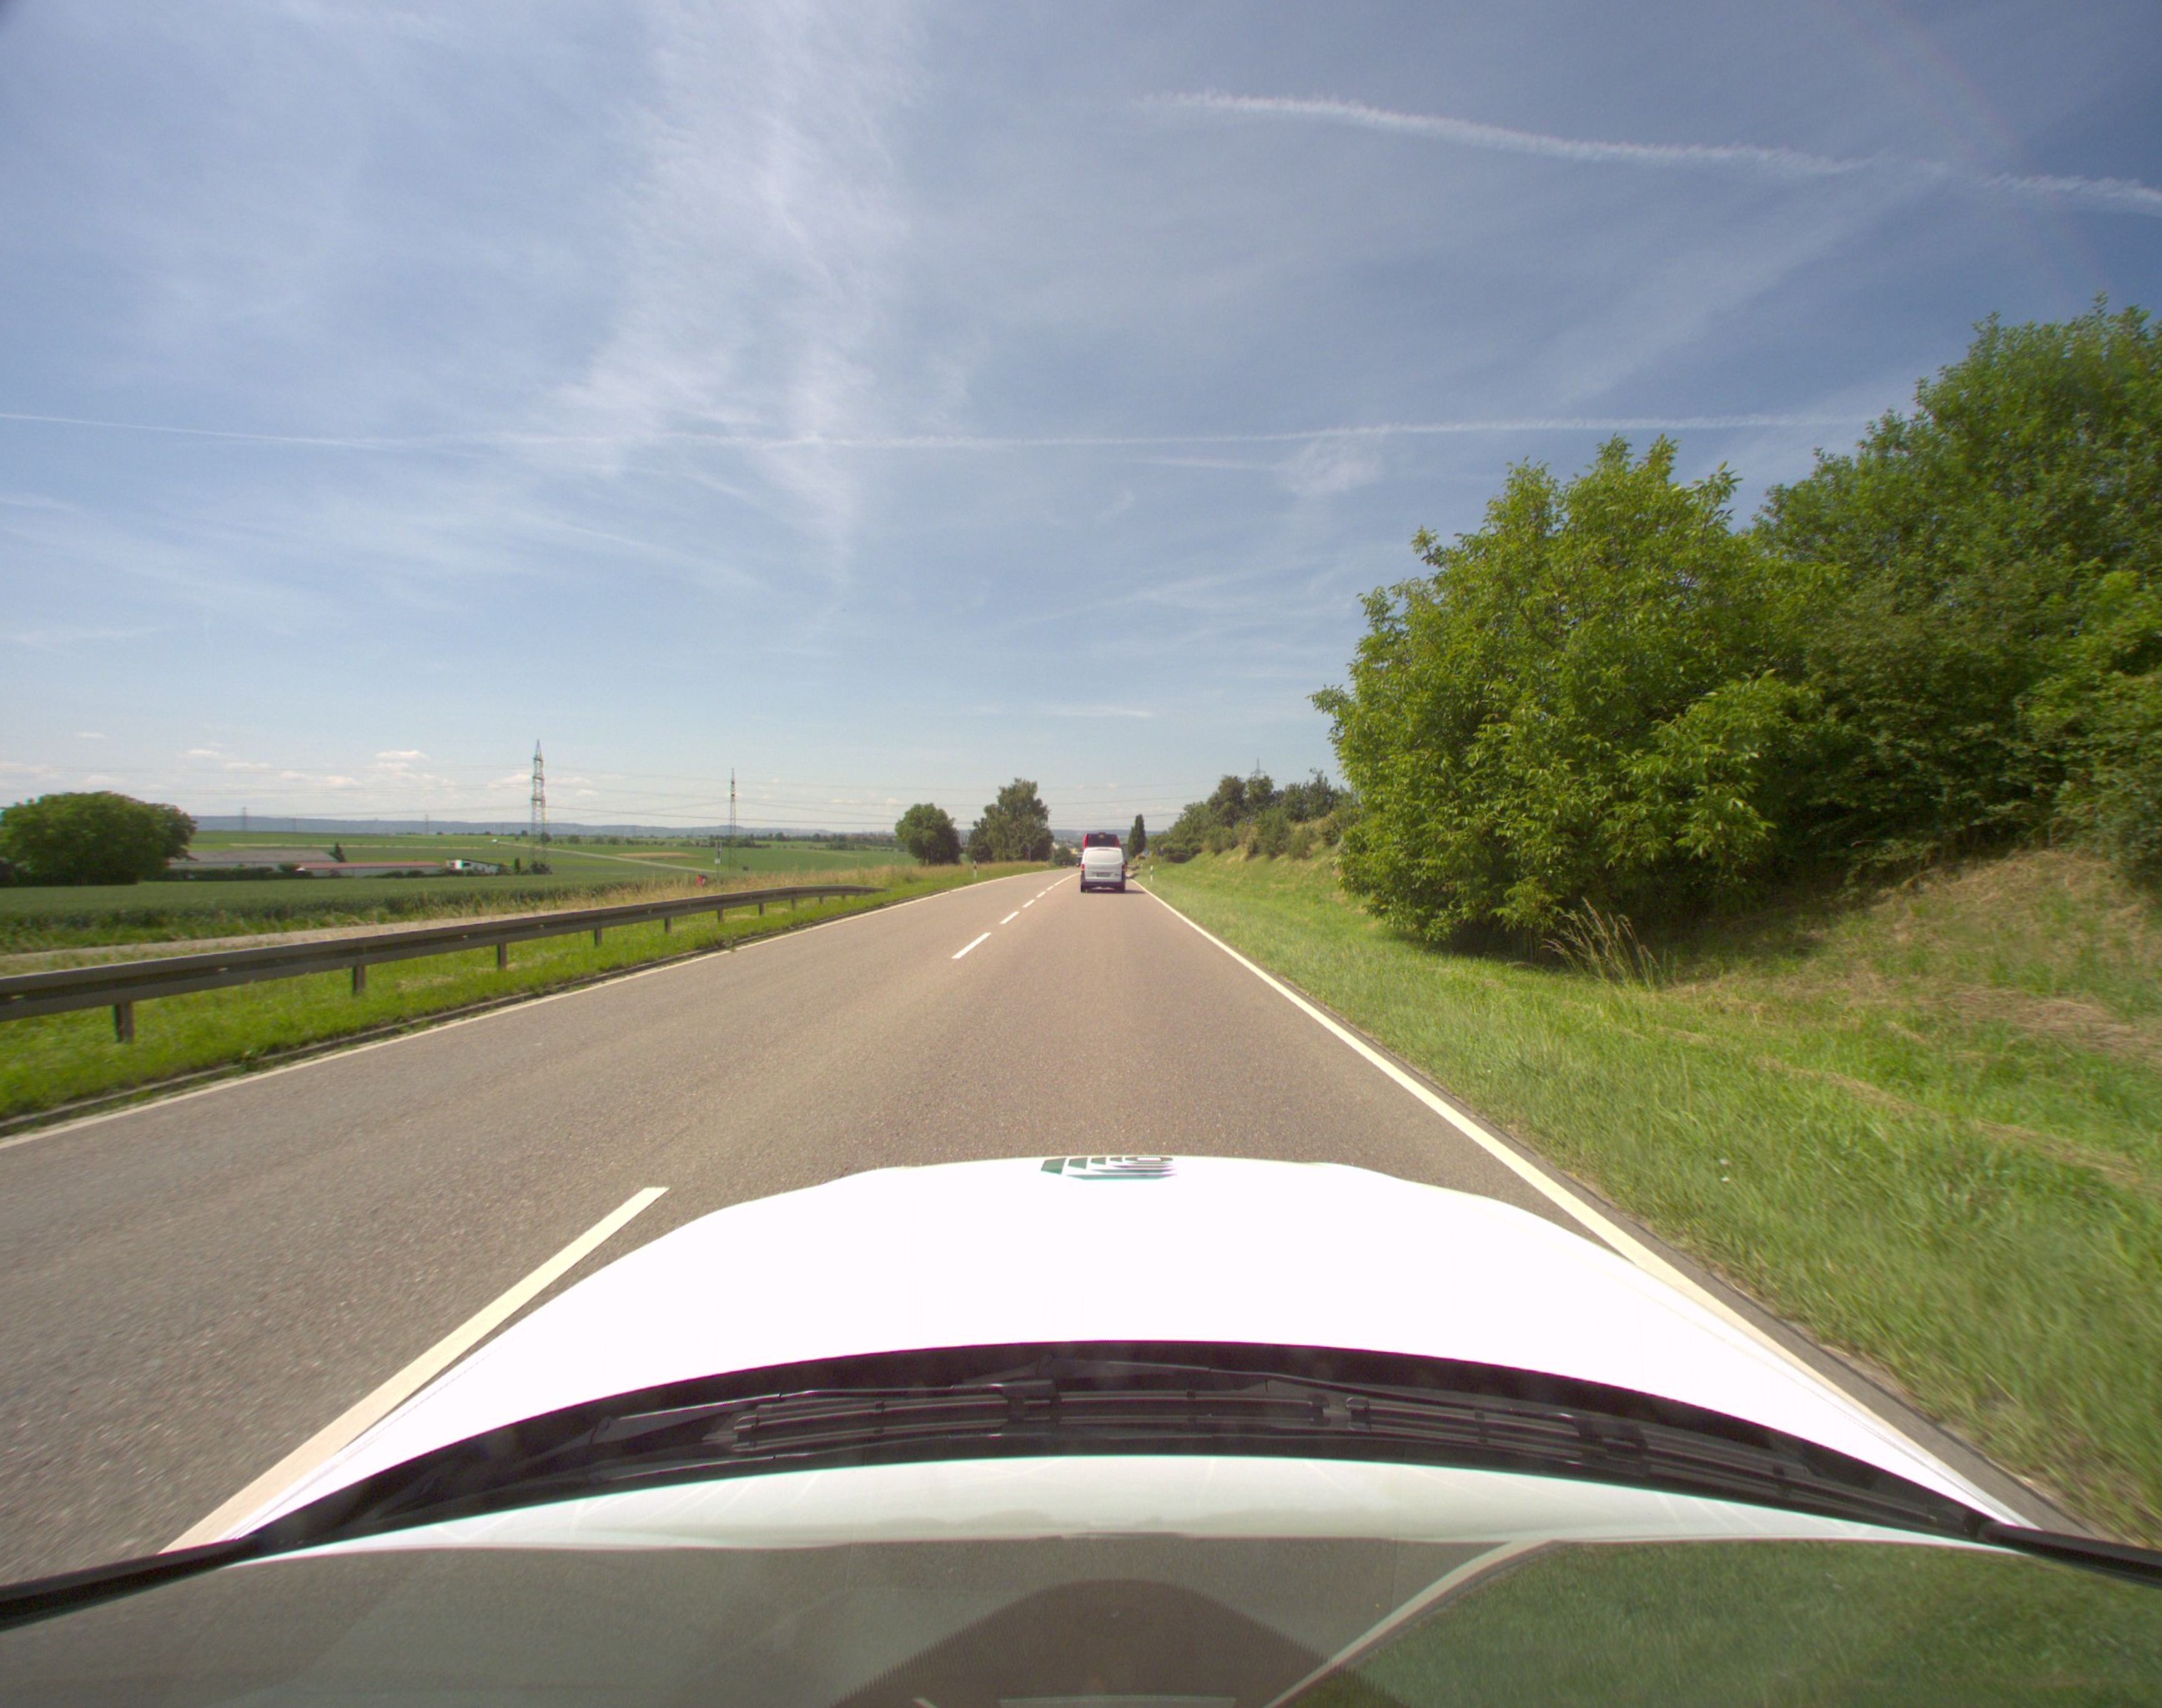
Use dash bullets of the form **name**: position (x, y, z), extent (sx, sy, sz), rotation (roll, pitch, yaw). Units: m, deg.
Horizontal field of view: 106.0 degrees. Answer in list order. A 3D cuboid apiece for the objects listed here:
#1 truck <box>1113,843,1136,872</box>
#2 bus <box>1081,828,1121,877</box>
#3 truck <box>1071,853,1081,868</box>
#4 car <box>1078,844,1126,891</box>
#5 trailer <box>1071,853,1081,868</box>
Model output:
- **truck**: position (6.858, 0.549, 130.472), extent (3.475, 4.423, 14.909), rotation (0, 0, 2)
- **bus**: position (1.637, -0.237, 64.320), extent (2.736, 3.353, 13.229), rotation (-1, 1, 2)
- **truck**: position (-1.405, 1.737, 230.558), extent (2.576, 4.104, 5.441), rotation (1, -1, 0)
- **car**: position (0.932, 0.546, 34.946), extent (1.916, 1.889, 4.002), rotation (0, 0, 2)
- **trailer**: position (-1.394, 1.830, 238.597), extent (2.584, 4.143, 13.738), rotation (1, -1, 0)
